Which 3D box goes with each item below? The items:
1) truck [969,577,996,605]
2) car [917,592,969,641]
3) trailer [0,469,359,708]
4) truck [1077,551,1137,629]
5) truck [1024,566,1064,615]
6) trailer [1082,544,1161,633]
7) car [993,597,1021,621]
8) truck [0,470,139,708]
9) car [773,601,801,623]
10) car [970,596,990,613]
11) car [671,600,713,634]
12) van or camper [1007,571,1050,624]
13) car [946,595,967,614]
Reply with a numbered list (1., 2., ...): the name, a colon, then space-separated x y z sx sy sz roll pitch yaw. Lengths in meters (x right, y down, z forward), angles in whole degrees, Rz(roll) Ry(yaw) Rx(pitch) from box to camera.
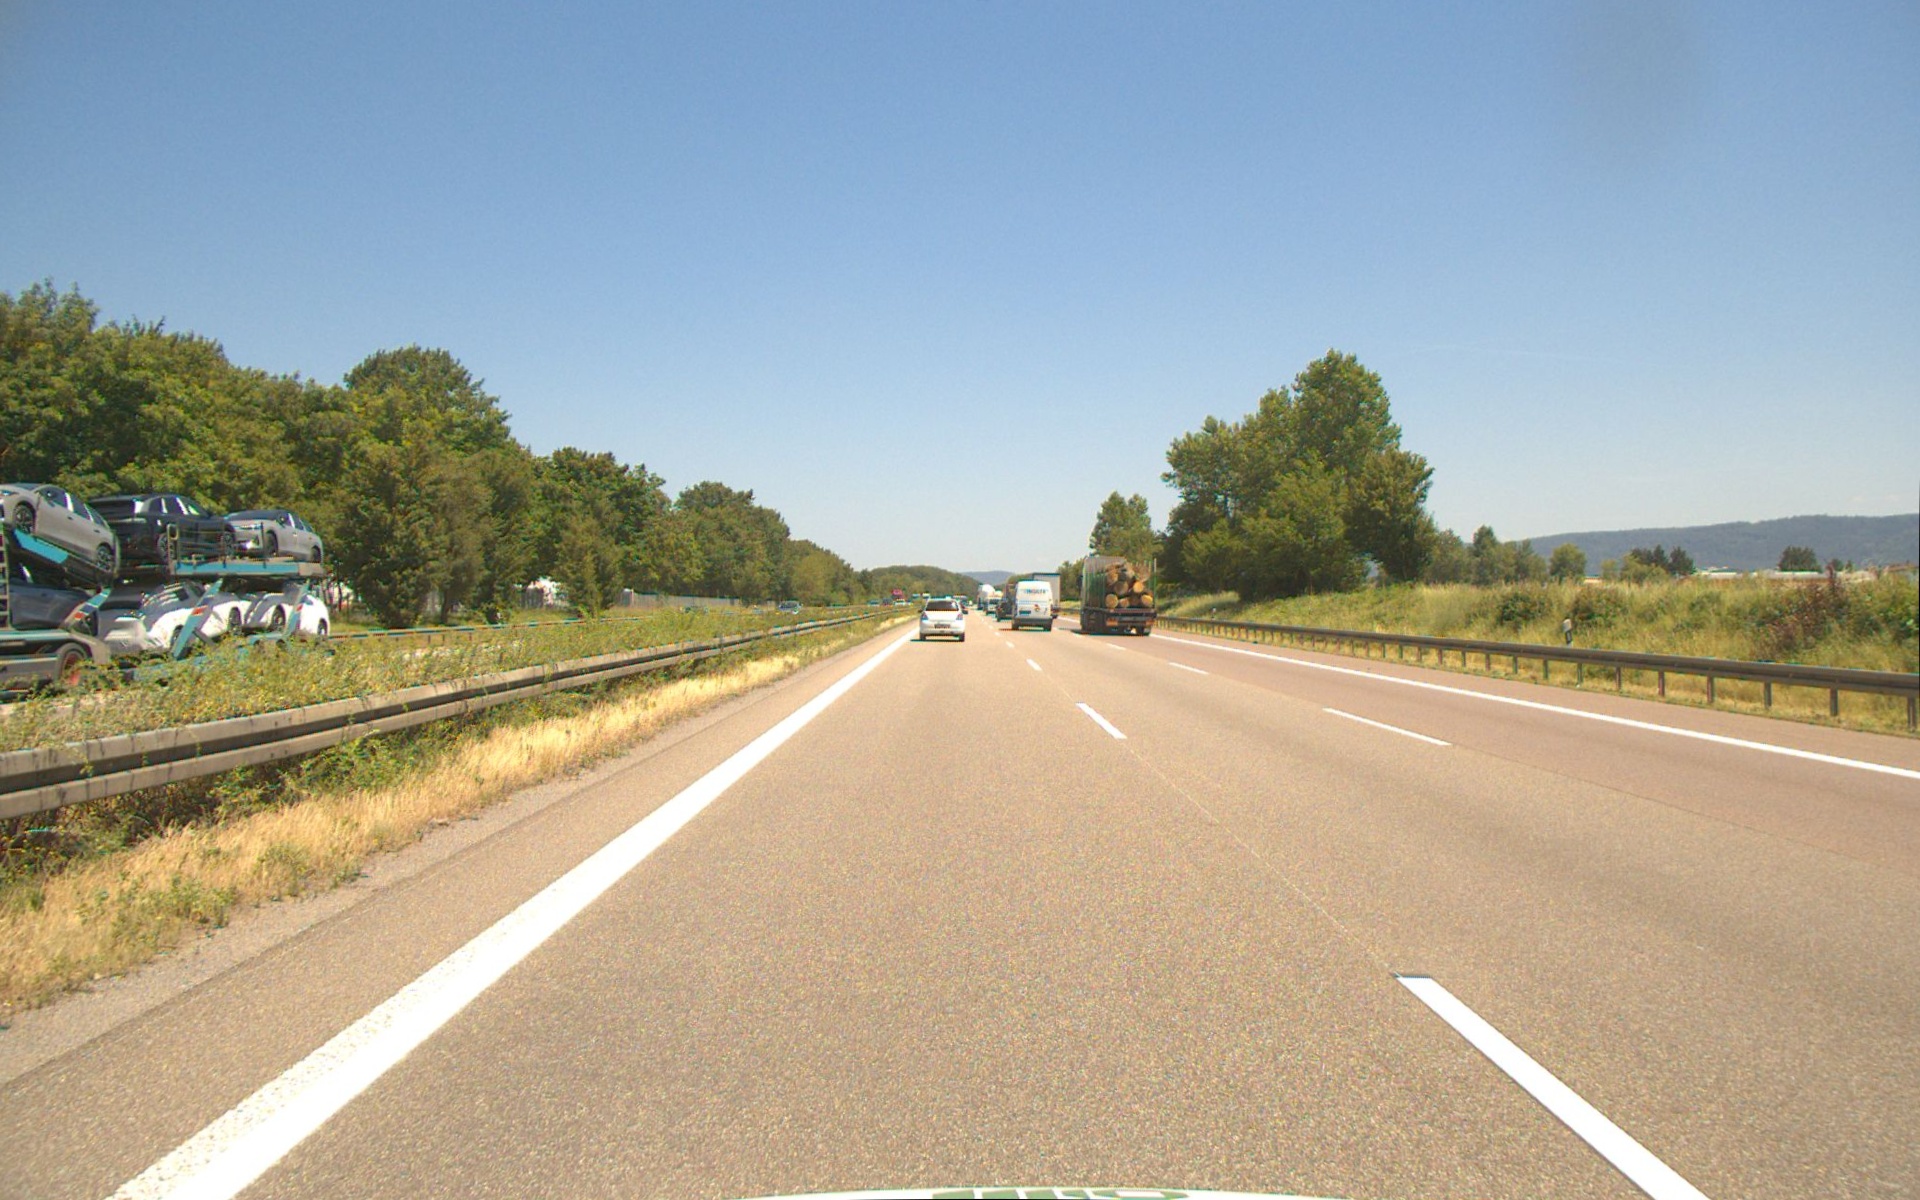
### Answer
1. truck: 3.518 -1.388 263.144 3.192 4.282 16.835 2 0 -2
2. car: -0.655 0.586 61.300 1.819 1.681 3.999 2 0 -1
3. trailer: -17.778 -0.138 36.375 2.820 4.047 17.471 -3 0 -1
4. truck: 7.964 -0.524 90.264 2.615 4.064 6.636 1 0 0
5. truck: 7.909 -0.851 157.154 3.015 4.282 16.844 2 0 1
6. trailer: 7.946 -0.536 82.968 2.599 4.028 13.636 1 0 0
7. car: 3.412 0.662 120.347 1.819 1.681 3.999 1 0 -1
8. truck: -17.722 -0.127 29.042 2.820 4.044 7.371 -3 0 -1
9. car: -13.035 0.866 124.963 1.756 1.606 4.211 -1 0 -1
10. car: 2.013 0.463 168.446 1.819 1.681 3.999 1 0 -1
11. car: -17.140 1.053 105.937 1.953 2.049 4.272 2 0 -1
12. van or camper: 3.595 -0.143 87.391 2.016 2.668 5.985 1 0 0
13. car: -0.351 0.380 150.946 1.819 1.681 3.999 1 0 -1
